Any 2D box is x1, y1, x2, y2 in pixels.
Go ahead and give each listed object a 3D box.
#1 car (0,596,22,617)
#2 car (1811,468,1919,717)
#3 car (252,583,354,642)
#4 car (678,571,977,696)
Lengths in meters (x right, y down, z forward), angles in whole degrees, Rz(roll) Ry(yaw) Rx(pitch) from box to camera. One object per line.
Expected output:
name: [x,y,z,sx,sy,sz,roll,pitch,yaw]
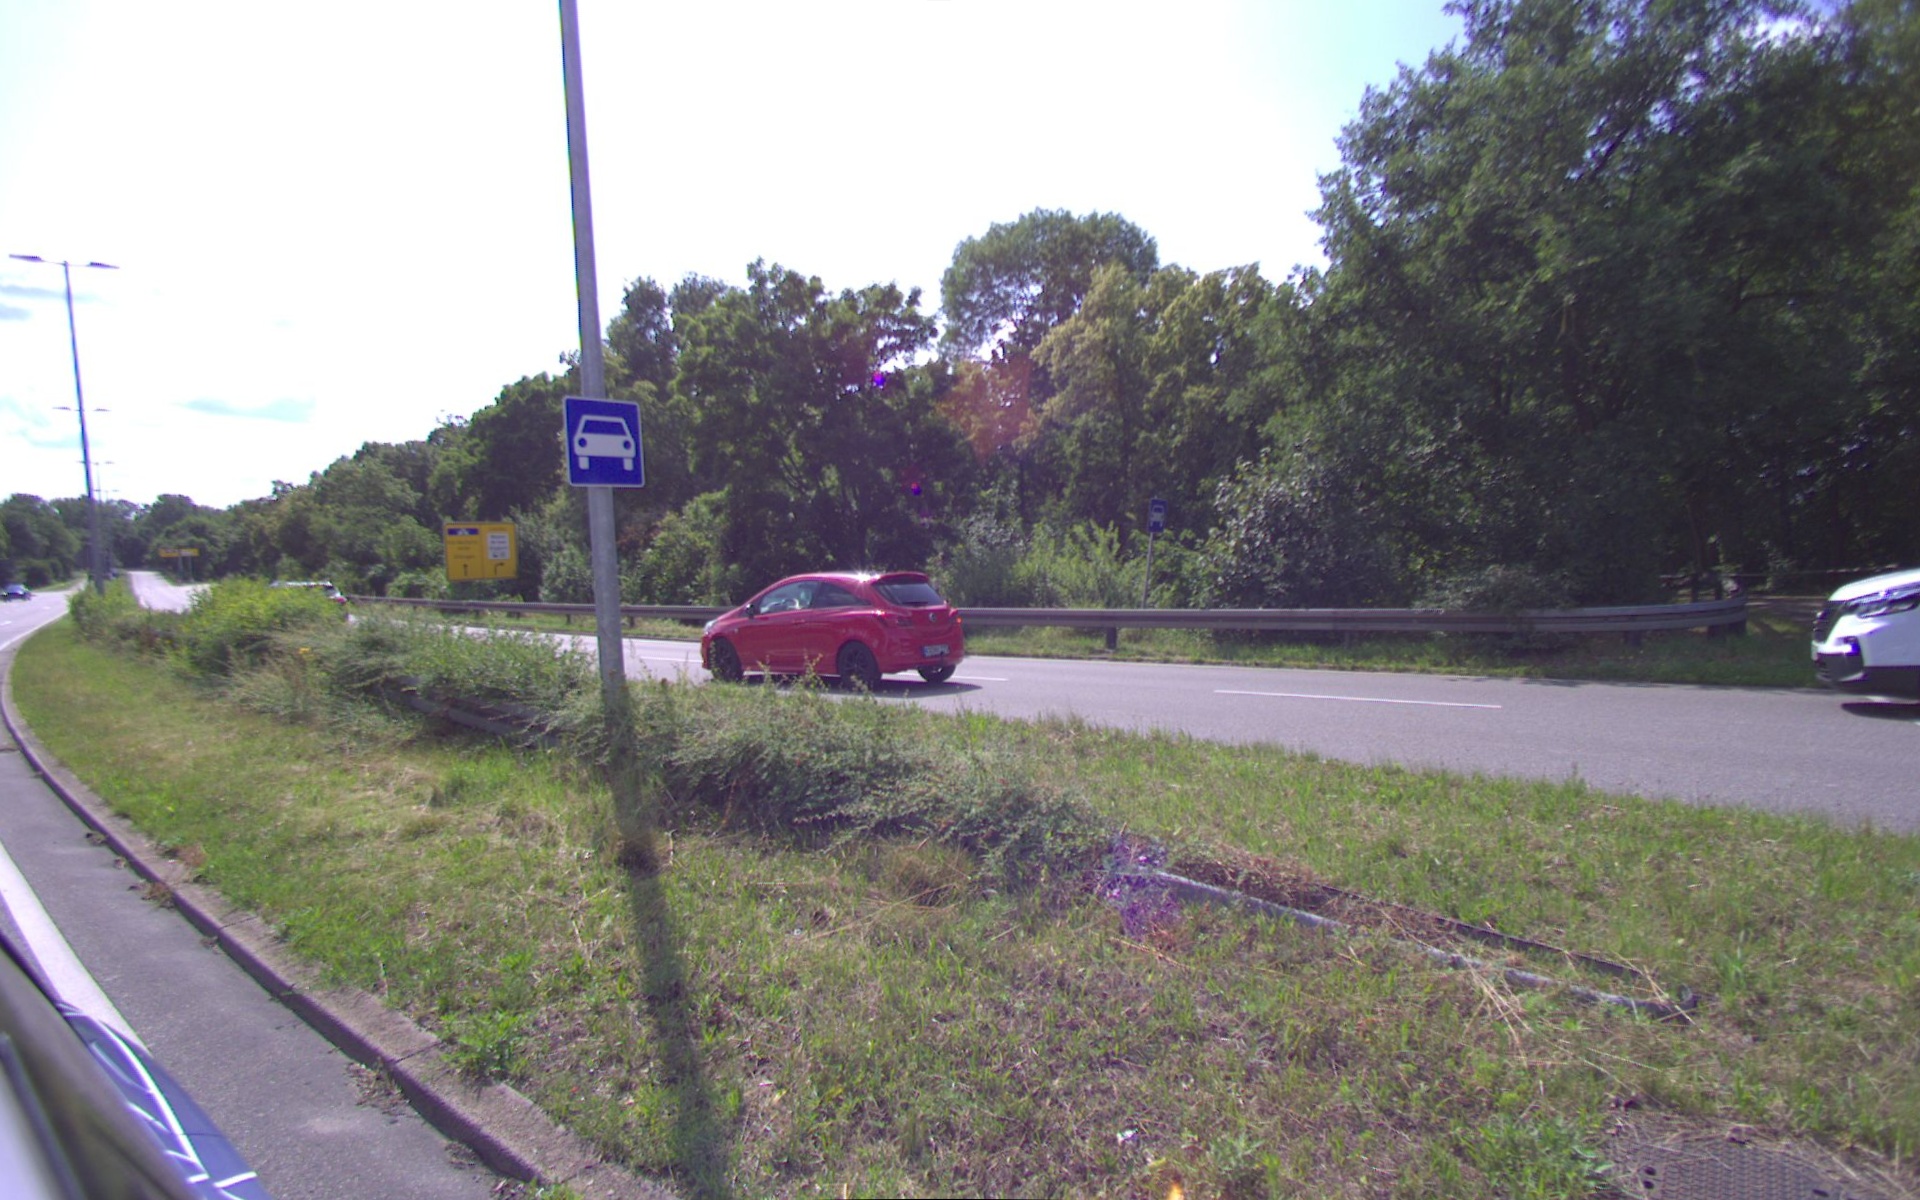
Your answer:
car: [-96.956,0.677,103.056,1.949,2.028,4.003,-2,2,-44]
car: [10.055,-0.100,7.833,5.125,2.029,1.976,-1,0,36]
car: [-19.217,0.351,29.528,1.690,1.598,4.285,-1,0,-44]
car: [-1.853,0.399,13.479,3.994,1.443,1.566,-1,0,37]
